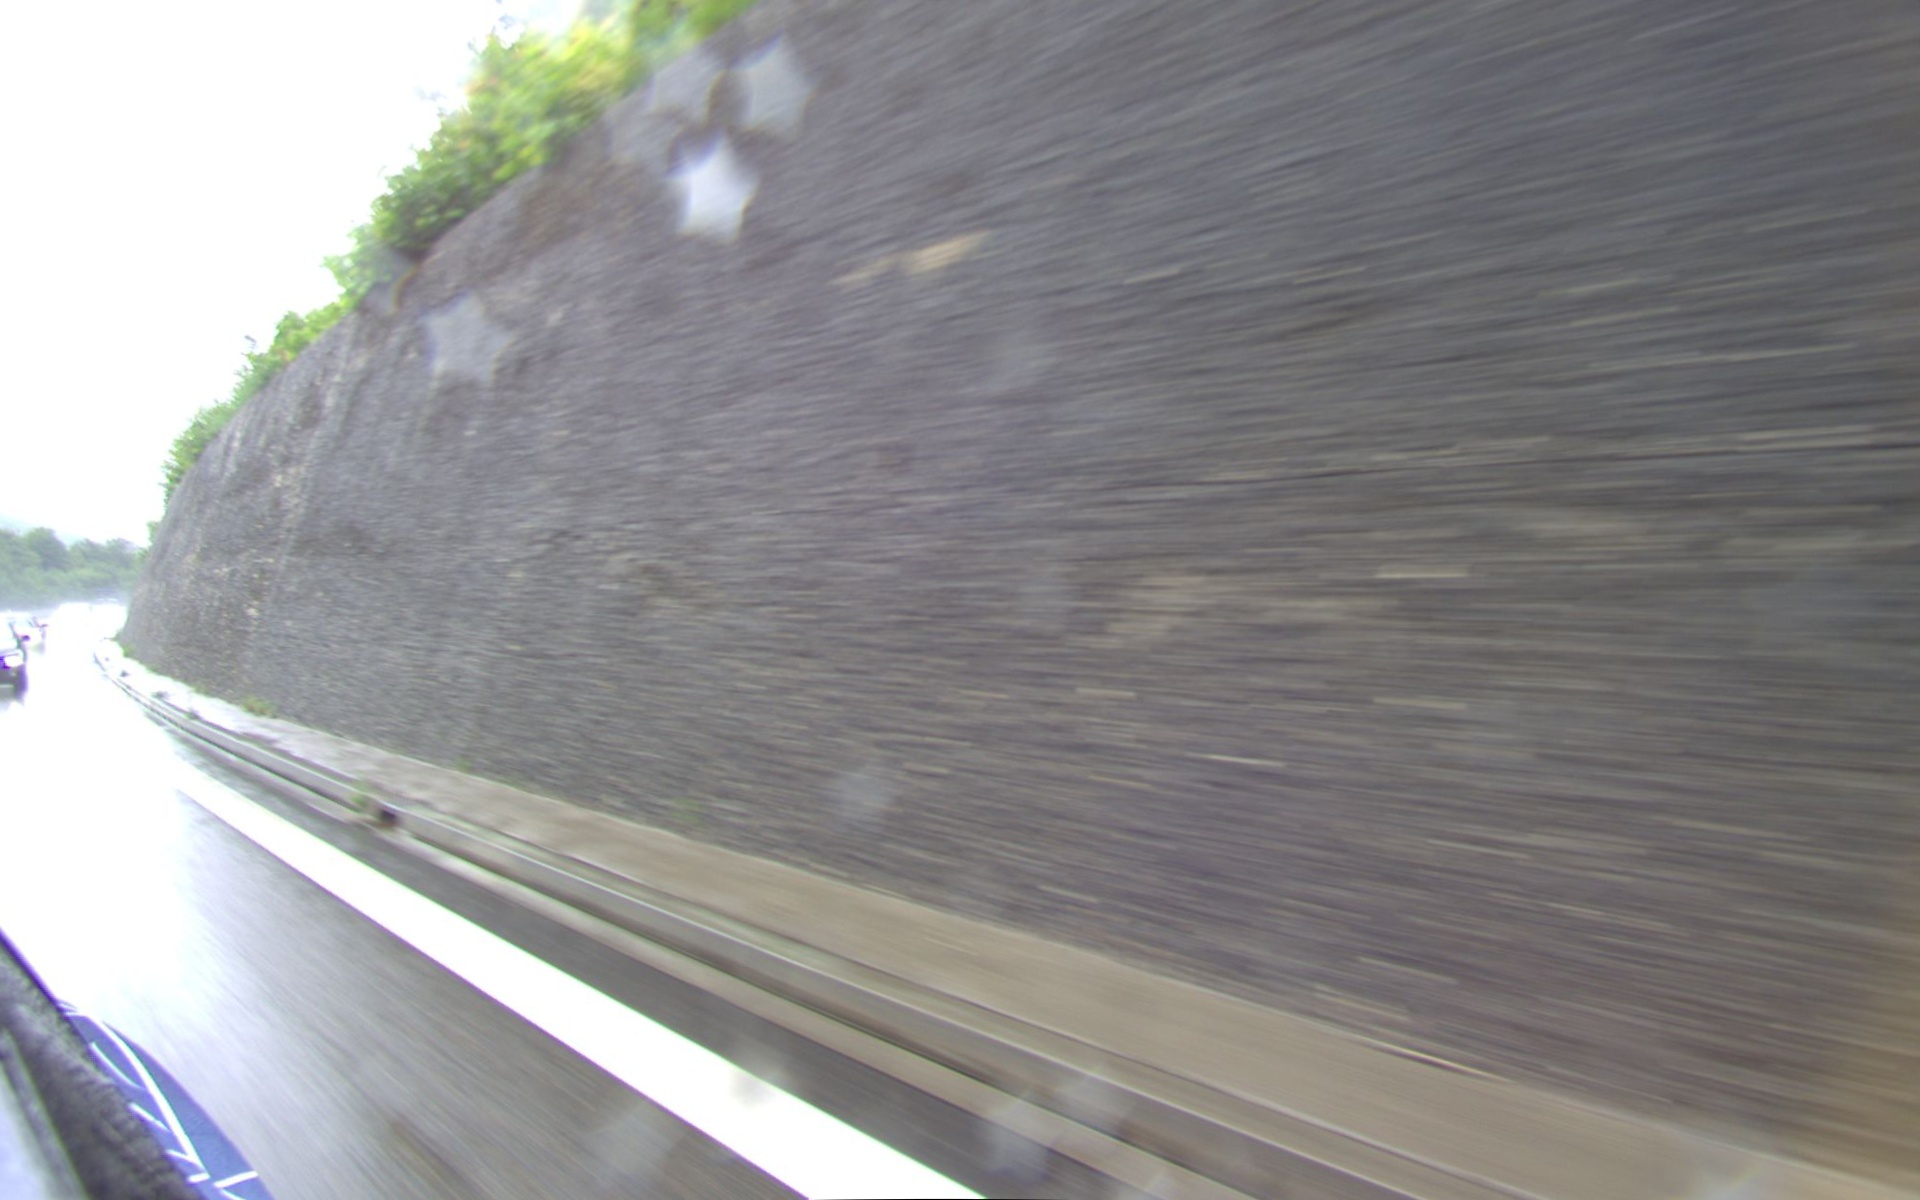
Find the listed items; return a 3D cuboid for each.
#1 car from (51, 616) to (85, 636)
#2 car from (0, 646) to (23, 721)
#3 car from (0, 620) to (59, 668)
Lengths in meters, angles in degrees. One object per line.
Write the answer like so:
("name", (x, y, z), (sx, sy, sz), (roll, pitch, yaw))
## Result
("car", (-69.013, 1.970, 78.363), (1.800, 1.393, 4.007), (-4, 2, -40))
("car", (-19.617, 1.618, 19.790), (1.801, 1.394, 4.003), (1, -2, -44))
("car", (-30.677, 1.412, 33.031), (1.801, 1.393, 4.005), (-4, 2, -42))
